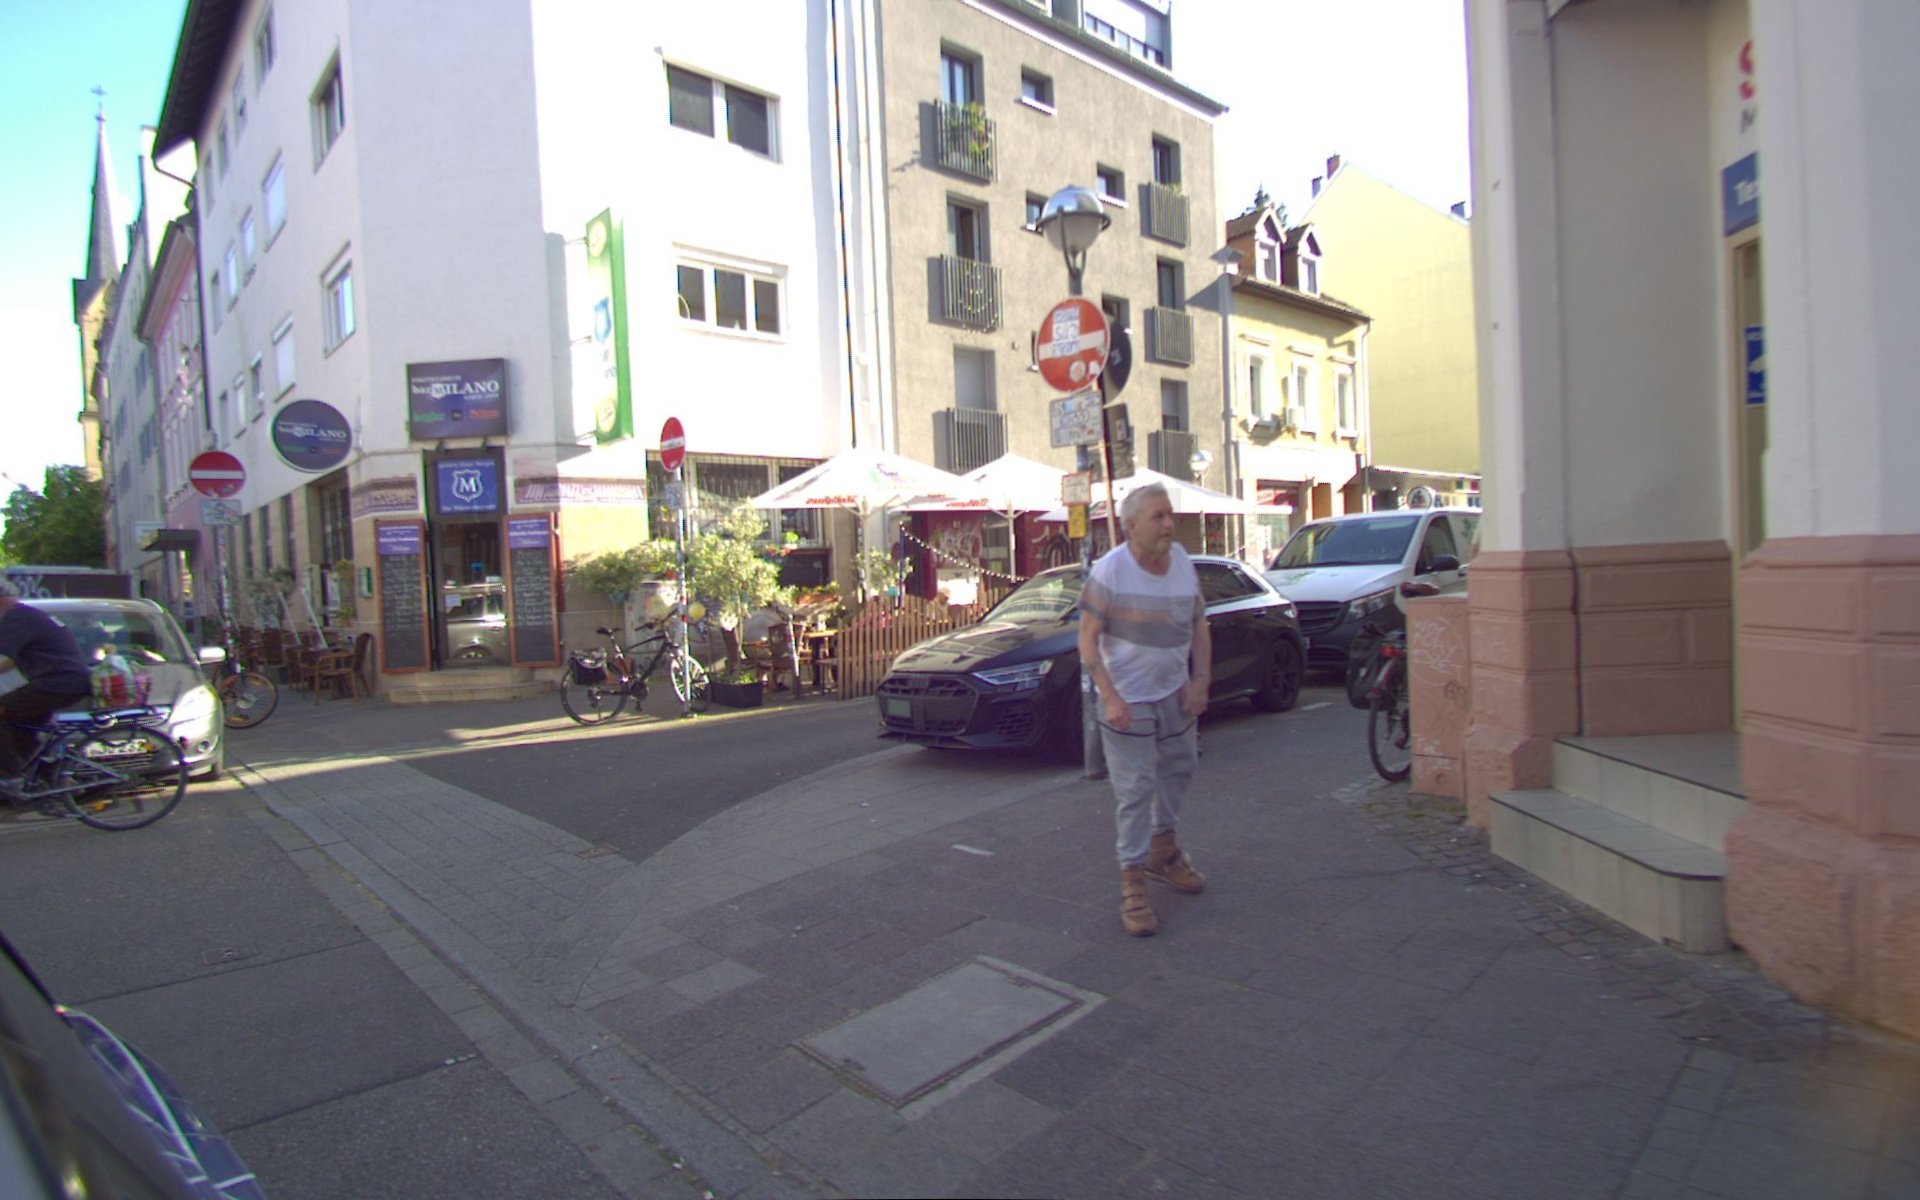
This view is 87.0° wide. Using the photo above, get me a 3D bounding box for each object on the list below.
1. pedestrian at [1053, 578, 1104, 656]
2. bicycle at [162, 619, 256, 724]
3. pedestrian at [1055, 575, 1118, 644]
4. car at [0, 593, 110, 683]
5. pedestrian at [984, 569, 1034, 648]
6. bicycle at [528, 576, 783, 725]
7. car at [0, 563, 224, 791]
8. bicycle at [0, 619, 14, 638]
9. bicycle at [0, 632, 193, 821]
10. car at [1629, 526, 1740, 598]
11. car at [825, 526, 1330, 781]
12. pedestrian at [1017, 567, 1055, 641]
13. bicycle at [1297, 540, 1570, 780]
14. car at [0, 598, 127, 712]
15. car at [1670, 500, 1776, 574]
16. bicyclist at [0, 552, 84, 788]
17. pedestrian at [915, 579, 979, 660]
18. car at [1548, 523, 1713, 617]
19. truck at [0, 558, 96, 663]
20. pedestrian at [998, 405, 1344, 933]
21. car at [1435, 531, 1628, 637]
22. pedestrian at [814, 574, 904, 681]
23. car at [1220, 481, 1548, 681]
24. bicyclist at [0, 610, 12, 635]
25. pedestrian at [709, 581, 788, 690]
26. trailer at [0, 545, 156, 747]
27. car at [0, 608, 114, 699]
[{"bbox_3d":[2.039,0.285,17.437,0.649,1.275,0.616,-4,3,-13],"label":"pedestrian"},{"bbox_3d":[-9.070,0.827,12.207,1.461,1.147,0.570,-1,3,42],"label":"bicycle"},{"bbox_3d":[2.079,0.151,16.598,0.712,1.061,0.679,-5,3,-38],"label":"pedestrian"},{"bbox_3d":[-21.294,0.819,23.751,1.781,1.858,4.248,-3,2,-43],"label":"car"},{"bbox_3d":[0.753,0.125,15.667,0.680,1.153,0.660,-3,3,1],"label":"pedestrian"},{"bbox_3d":[-3.243,0.474,10.994,2.446,1.369,0.930,-4,2,-42],"label":"bicycle"},{"bbox_3d":[-7.960,0.573,8.982,1.702,1.617,4.169,-2,0,-44],"label":"car"},{"bbox_3d":[-91.145,2.716,96.466,3.548,1.662,1.006,-1,3,43],"label":"bicycle"},{"bbox_3d":[-6.116,0.794,6.450,1.905,1.120,0.711,0,0,-42],"label":"bicycle"},{"bbox_3d":[16.655,-0.897,23.211,1.599,1.449,3.534,-1,2,43],"label":"car"},{"bbox_3d":[1.134,0.228,8.061,4.092,1.466,1.760,-5,2,-44],"label":"car"},{"bbox_3d":[1.246,0.052,16.642,0.535,1.153,0.660,-3,3,1],"label":"pedestrian"},{"bbox_3d":[2.847,0.273,5.980,1.897,1.157,0.614,-5,3,-37],"label":"bicycle"},{"bbox_3d":[-14.449,0.785,16.043,1.657,1.566,3.822,-2,1,-43],"label":"car"},{"bbox_3d":[20.227,-1.679,26.767,1.772,1.726,4.099,-1,2,43],"label":"car"},{"bbox_3d":[-6.111,0.431,6.458,0.777,1.446,0.711,0,-1,-42],"label":"bicyclist"},{"bbox_3d":[-0.201,0.290,15.464,0.649,1.163,0.683,-5,3,-34],"label":"pedestrian"},{"bbox_3d":[13.096,-0.620,19.655,4.347,1.581,1.773,-5,2,-44],"label":"car"},{"bbox_3d":[-31.081,0.289,34.482,2.263,3.207,7.054,-3,2,-42],"label":"truck"},{"bbox_3d":[0.784,0.208,3.801,0.686,1.713,0.866,-10,4,-42],"label":"pedestrian"},{"bbox_3d":[9.176,-0.302,16.117,1.759,1.421,3.911,-1,2,43],"label":"car"},{"bbox_3d":[-1.303,0.336,13.058,0.837,1.275,0.707,-5,3,-39],"label":"pedestrian"},{"bbox_3d":[5.179,-0.310,11.882,1.857,1.864,5.030,-1,2,43],"label":"car"},{"bbox_3d":[-91.172,2.182,96.413,1.532,2.310,1.006,-1,3,43],"label":"bicyclist"},{"bbox_3d":[-2.654,0.428,12.710,0.677,1.275,0.661,-5,3,-39],"label":"pedestrian"},{"bbox_3d":[-11.118,0.473,12.241,4.366,2.076,1.643,0,1,45],"label":"trailer"},{"bbox_3d":[-17.712,0.949,19.693,1.653,1.508,4.535,-2,1,-43],"label":"car"}]
